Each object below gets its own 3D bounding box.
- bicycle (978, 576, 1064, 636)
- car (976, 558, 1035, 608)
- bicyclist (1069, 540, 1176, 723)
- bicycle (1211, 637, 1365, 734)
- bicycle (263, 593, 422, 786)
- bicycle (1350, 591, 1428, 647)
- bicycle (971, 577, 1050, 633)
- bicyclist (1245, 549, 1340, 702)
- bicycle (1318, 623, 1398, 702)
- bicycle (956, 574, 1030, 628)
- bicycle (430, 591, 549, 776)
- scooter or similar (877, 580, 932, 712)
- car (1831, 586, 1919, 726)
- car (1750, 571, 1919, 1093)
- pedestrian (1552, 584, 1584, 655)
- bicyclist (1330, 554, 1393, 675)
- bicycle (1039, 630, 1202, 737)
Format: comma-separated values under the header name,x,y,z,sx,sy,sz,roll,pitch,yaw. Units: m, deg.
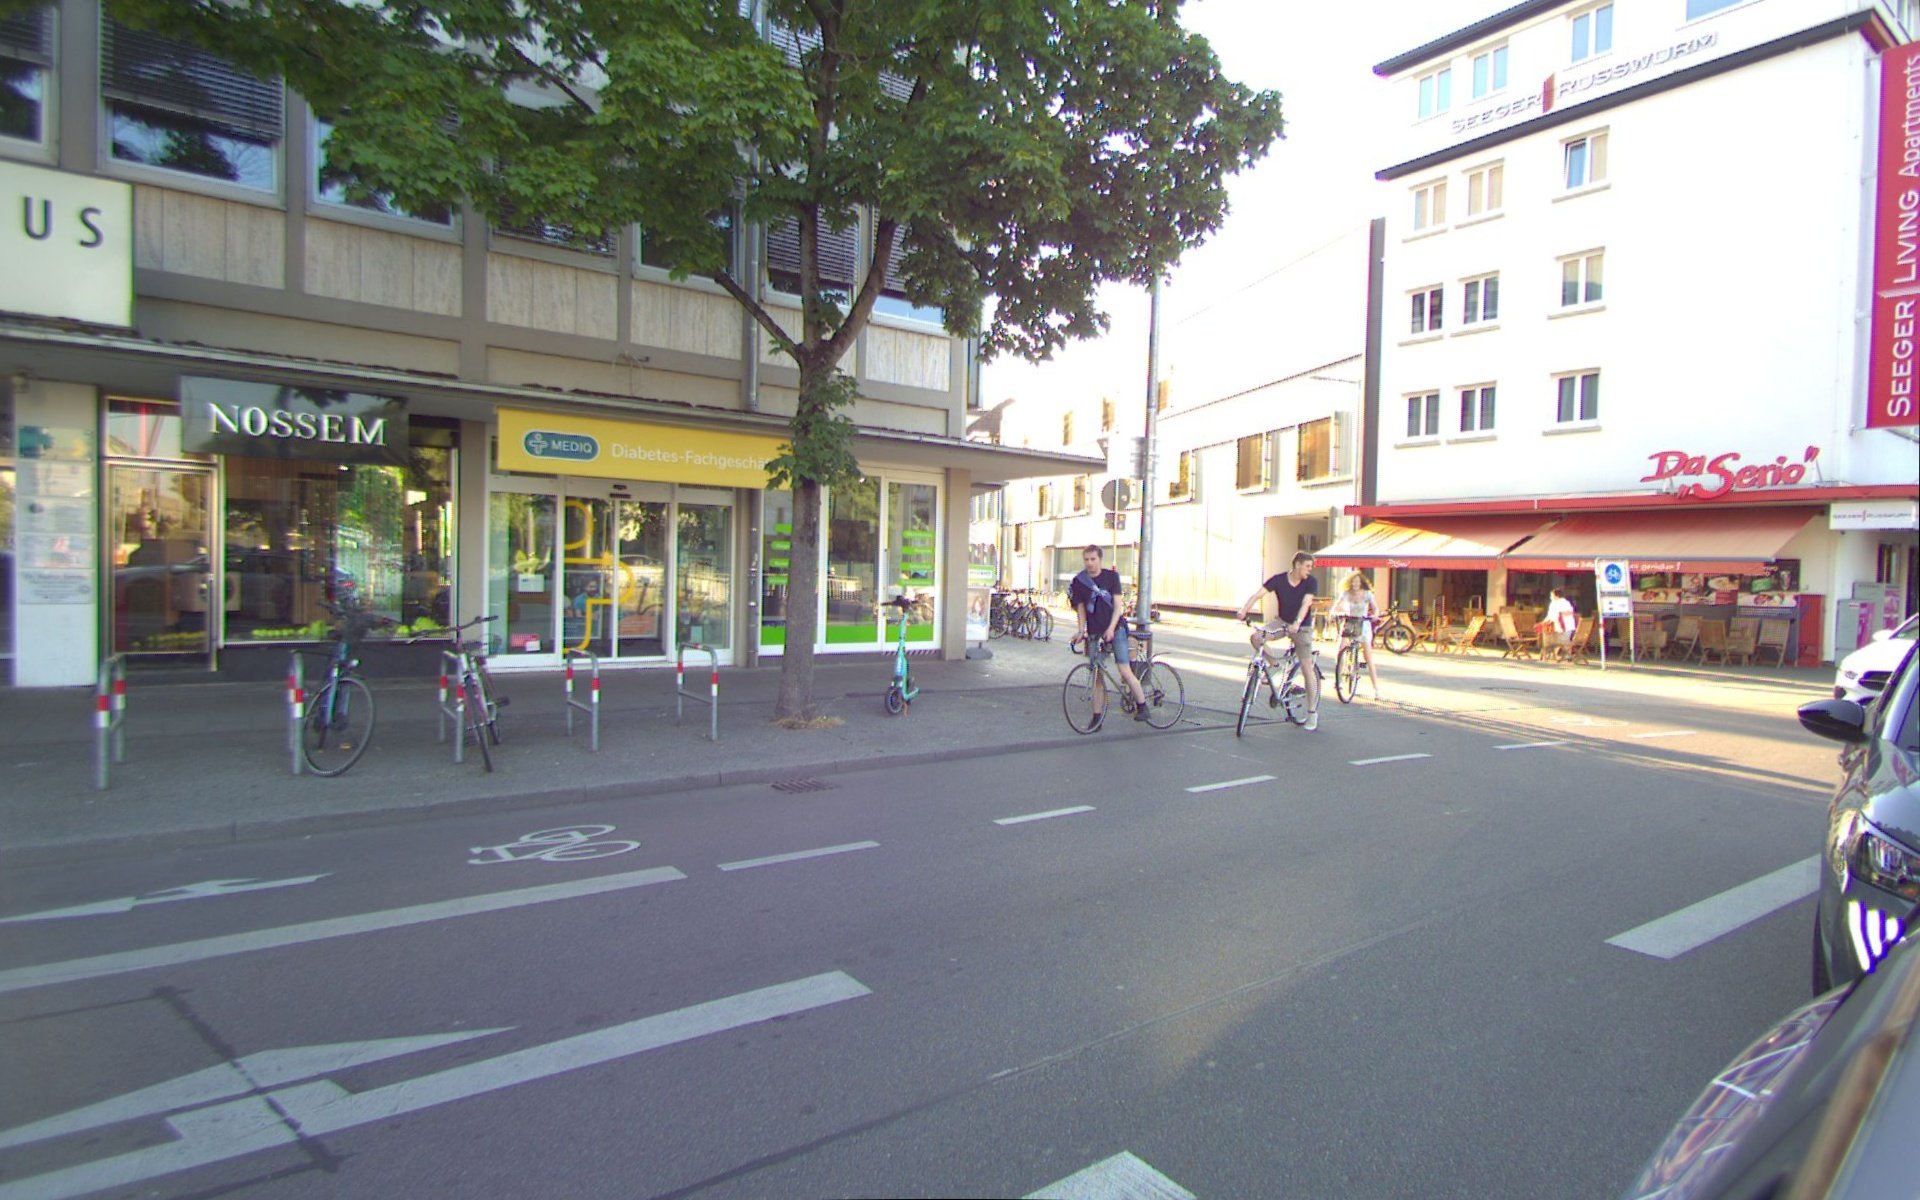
name,x,y,z,sx,sy,sz,roll,pitch,yaw
bicycle,1.344,0.130,22.328,1.743,1.201,0.556,3,1,-19
car,1.958,-0.799,44.630,1.959,2.038,4.006,1,2,-6
bicyclist,1.636,0.283,10.173,0.796,1.748,0.665,0,2,-39
bicycle,3.415,0.845,10.462,1.772,0.835,0.615,0,2,-38
bicycle,-4.556,0.577,7.408,0.655,1.154,1.743,0,3,-43
bicycle,9.988,0.420,23.604,0.588,1.181,1.636,-2,4,-31
bicycle,1.176,0.114,23.396,1.682,1.201,0.541,3,1,-19
bicyclist,3.435,0.242,10.459,0.705,1.505,0.614,0,2,-38
bicycle,5.145,0.771,13.033,0.596,0.835,1.719,3,3,33
bicycle,0.808,0.021,24.553,1.651,1.201,0.487,3,1,-19
bicycle,-3.653,0.571,7.789,0.528,1.199,1.638,0,3,-35
scooter or similar,-0.622,0.469,11.107,0.504,1.338,1.283,1,2,-6
car,12.283,0.627,11.666,4.470,1.467,1.820,0,2,-27
car,4.863,0.692,4.168,4.625,1.522,1.913,-1,3,-44
pedestrian,12.875,0.403,21.436,0.504,1.467,0.502,2,1,27
bicyclist,5.187,0.170,13.062,0.584,1.505,0.709,2,2,33
bicycle,1.641,0.799,10.198,1.660,0.912,0.675,0,2,-39
